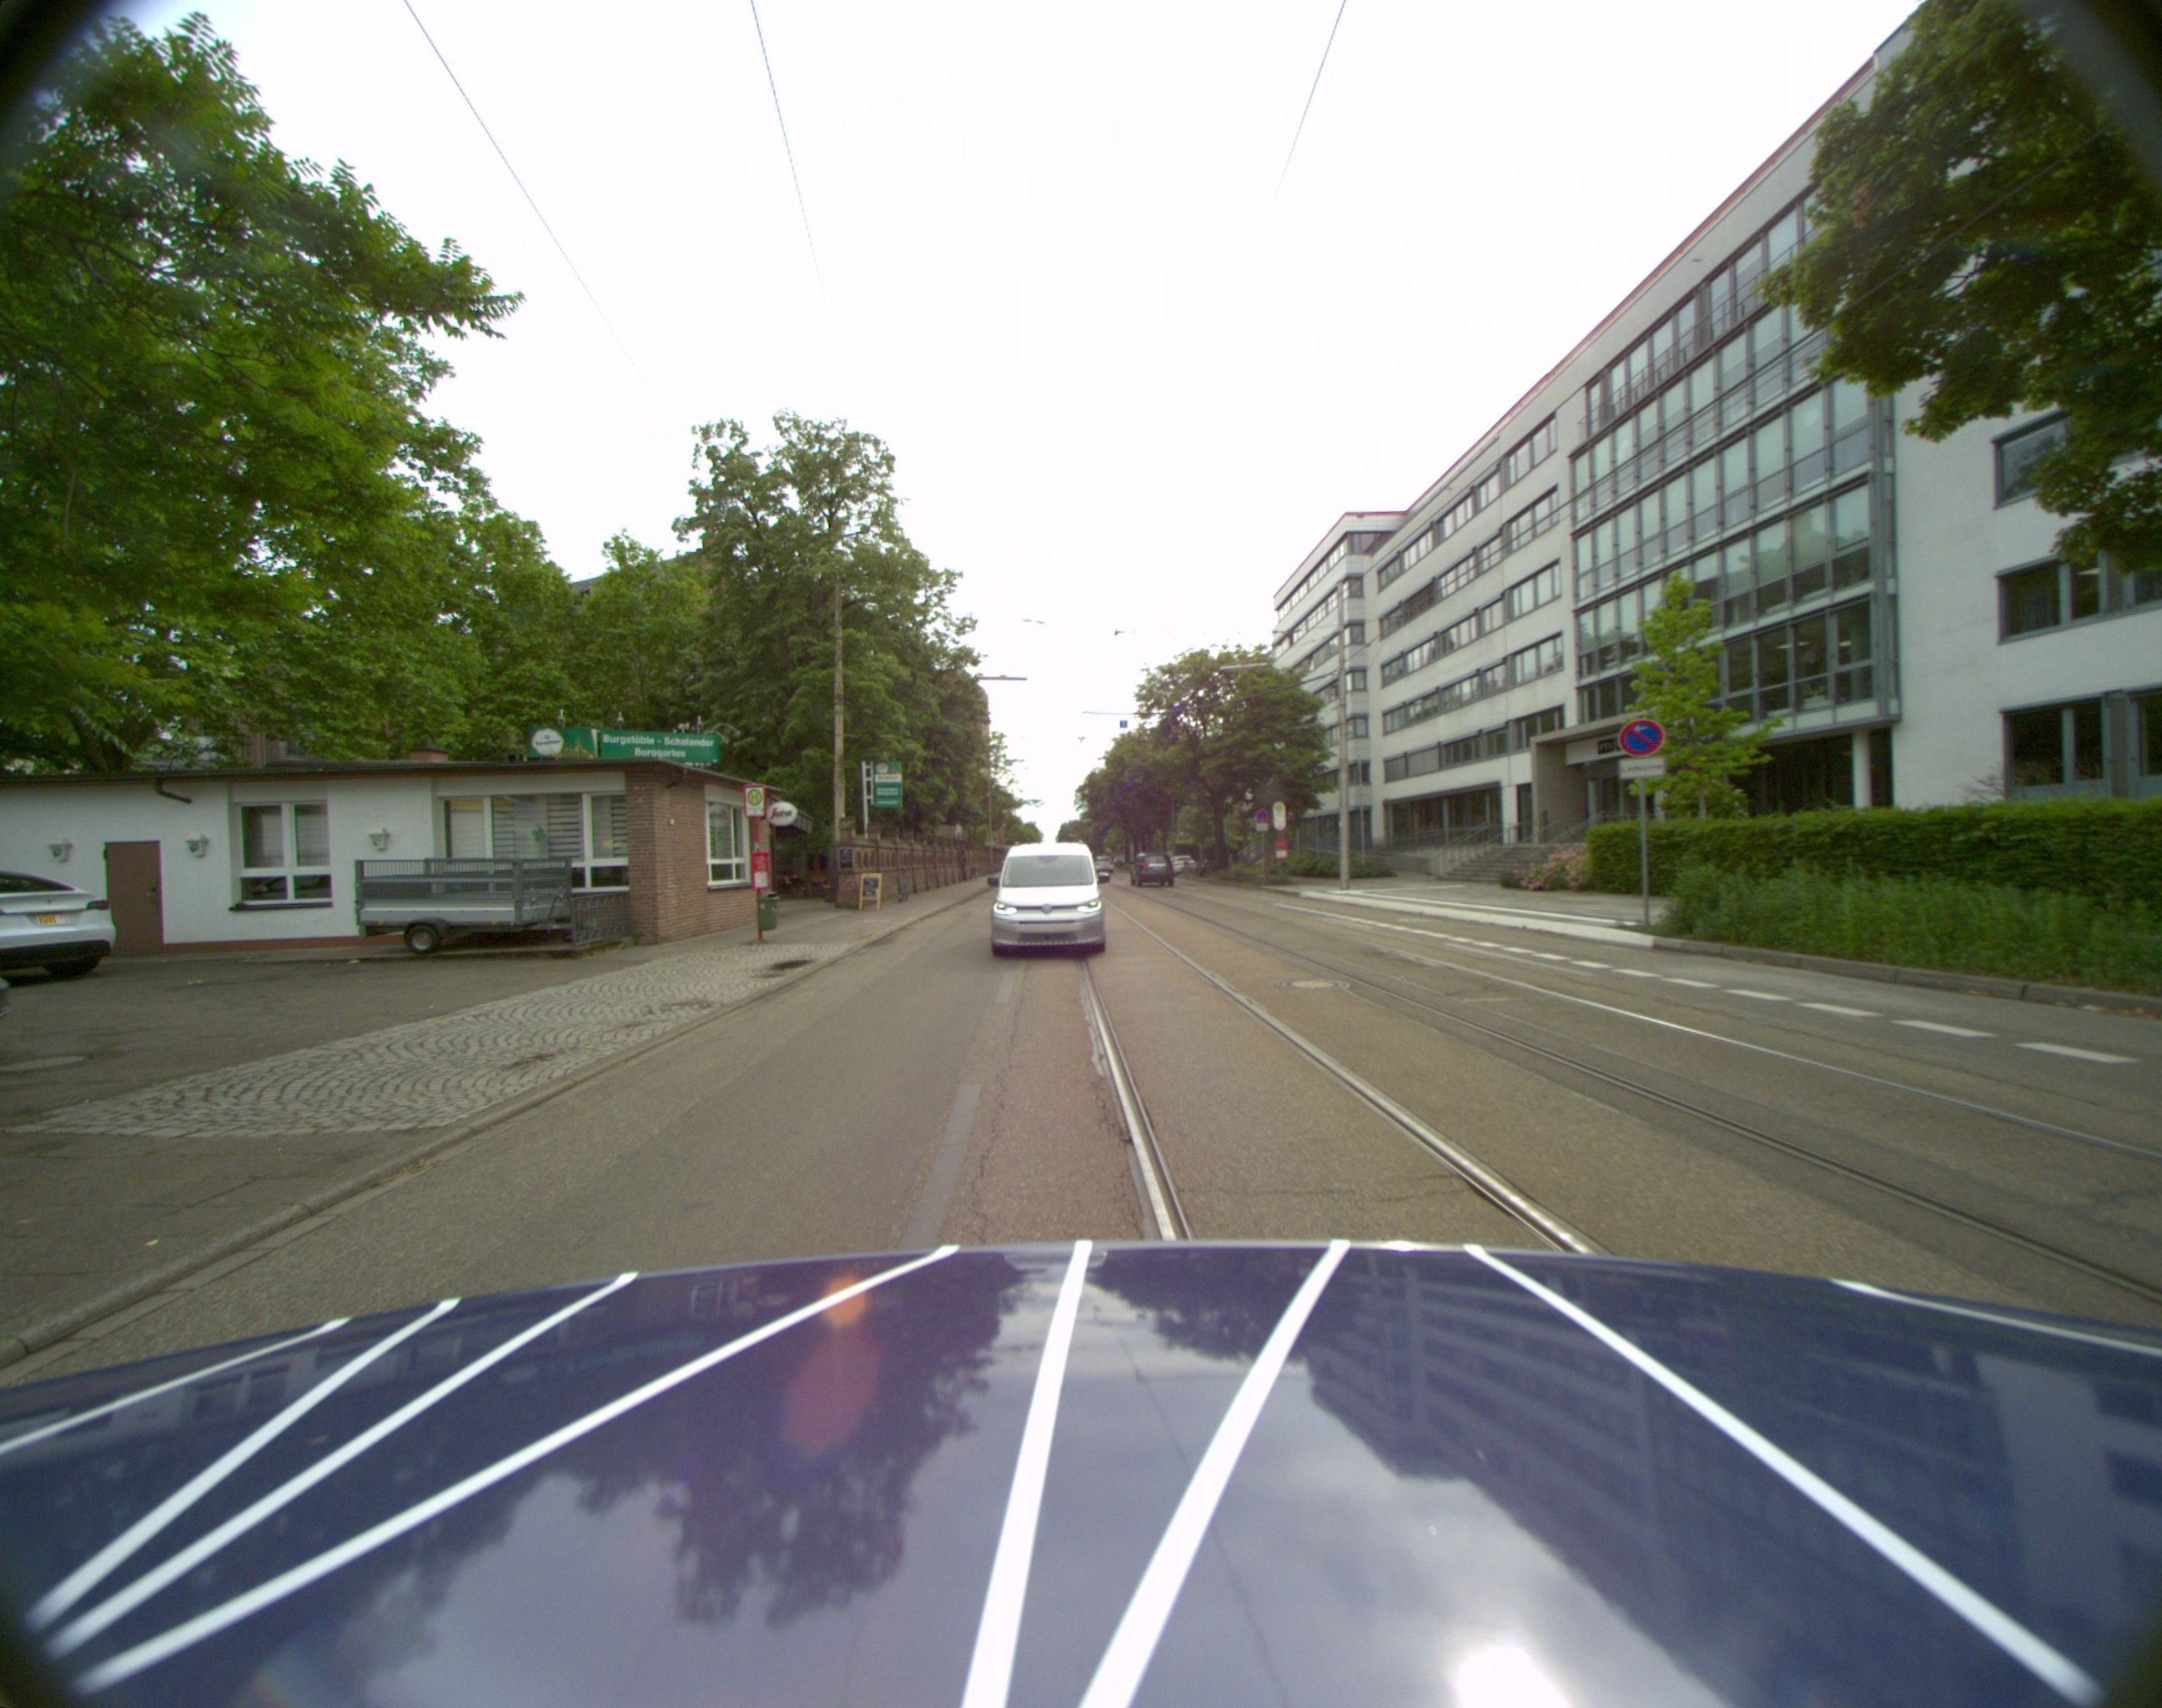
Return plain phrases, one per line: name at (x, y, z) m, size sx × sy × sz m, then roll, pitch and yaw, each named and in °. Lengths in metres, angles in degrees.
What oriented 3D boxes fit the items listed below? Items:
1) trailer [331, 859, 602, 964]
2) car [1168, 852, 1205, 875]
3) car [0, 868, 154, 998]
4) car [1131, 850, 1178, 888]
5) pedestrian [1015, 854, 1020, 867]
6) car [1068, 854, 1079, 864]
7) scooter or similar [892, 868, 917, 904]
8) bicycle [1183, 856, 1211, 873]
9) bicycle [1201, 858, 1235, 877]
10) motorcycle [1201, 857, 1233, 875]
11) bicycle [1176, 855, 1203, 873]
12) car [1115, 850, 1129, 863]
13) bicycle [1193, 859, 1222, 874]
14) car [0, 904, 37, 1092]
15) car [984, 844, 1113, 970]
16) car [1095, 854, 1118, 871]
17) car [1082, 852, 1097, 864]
trailer at (-10.204, 0.916, 12.807) m, size 3.170 × 1.530 × 1.620 m, roll -2°, pitch 1°, yaw -1°
car at (7.782, 0.687, 56.597) m, size 1.886 × 1.485 × 4.752 m, roll -3°, pitch 0°, yaw -2°
car at (-16.164, 1.114, 10.471) m, size 4.434 × 1.637 × 1.991 m, roll -2°, pitch 1°, yaw 3°
car at (3.608, 0.672, 37.973) m, size 1.832 × 1.727 × 4.334 m, roll -2°, pitch 1°, yaw -1°
pedestrian at (-8.880, 0.853, 106.287) m, size 0.723 × 1.834 × 0.897 m, roll 0°, pitch 1°, yaw -5°
car at (-1.268, 0.921, 135.675) m, size 1.847 × 1.644 × 4.388 m, roll 0°, pitch 0°, yaw -2°
scooter or similar at (-6.404, 1.143, 27.605) m, size 0.578 × 1.232 × 1.409 m, roll 1°, pitch 0°, yaw -2°
bicycle at (7.989, 0.721, 52.504) m, size 1.812 × 1.094 × 0.632 m, roll -1°, pitch 1°, yaw -8°
bicycle at (8.340, 0.809, 46.273) m, size 1.834 × 1.047 × 0.741 m, roll -2°, pitch 0°, yaw -10°
motorcycle at (8.646, 0.784, 48.371) m, size 1.794 × 1.044 × 0.732 m, roll -3°, pitch 1°, yaw -9°
bicycle at (7.662, 0.710, 53.634) m, size 1.869 × 1.180 × 0.632 m, roll -1°, pitch 1°, yaw 2°
car at (5.759, 0.370, 107.628) m, size 1.815 × 1.699 × 4.000 m, roll -3°, pitch 1°, yaw 1°
bicycle at (8.335, 0.829, 50.124) m, size 1.812 × 0.894 × 0.632 m, roll -1°, pitch 1°, yaw -8°
car at (-10.337, 1.143, 4.568) m, size 1.930 × 1.399 × 4.594 m, roll -1°, pitch -1°, yaw 42°
car at (-0.558, 0.787, 13.627) m, size 1.850 × 1.796 × 4.936 m, roll -1°, pitch 0°, yaw -2°
car at (2.376, 0.793, 71.661) m, size 1.708 × 1.521 × 3.740 m, roll -2°, pitch 1°, yaw -3°
car at (1.030, 0.530, 94.521) m, size 1.752 × 1.477 × 4.062 m, roll -1°, pitch -1°, yaw -2°
